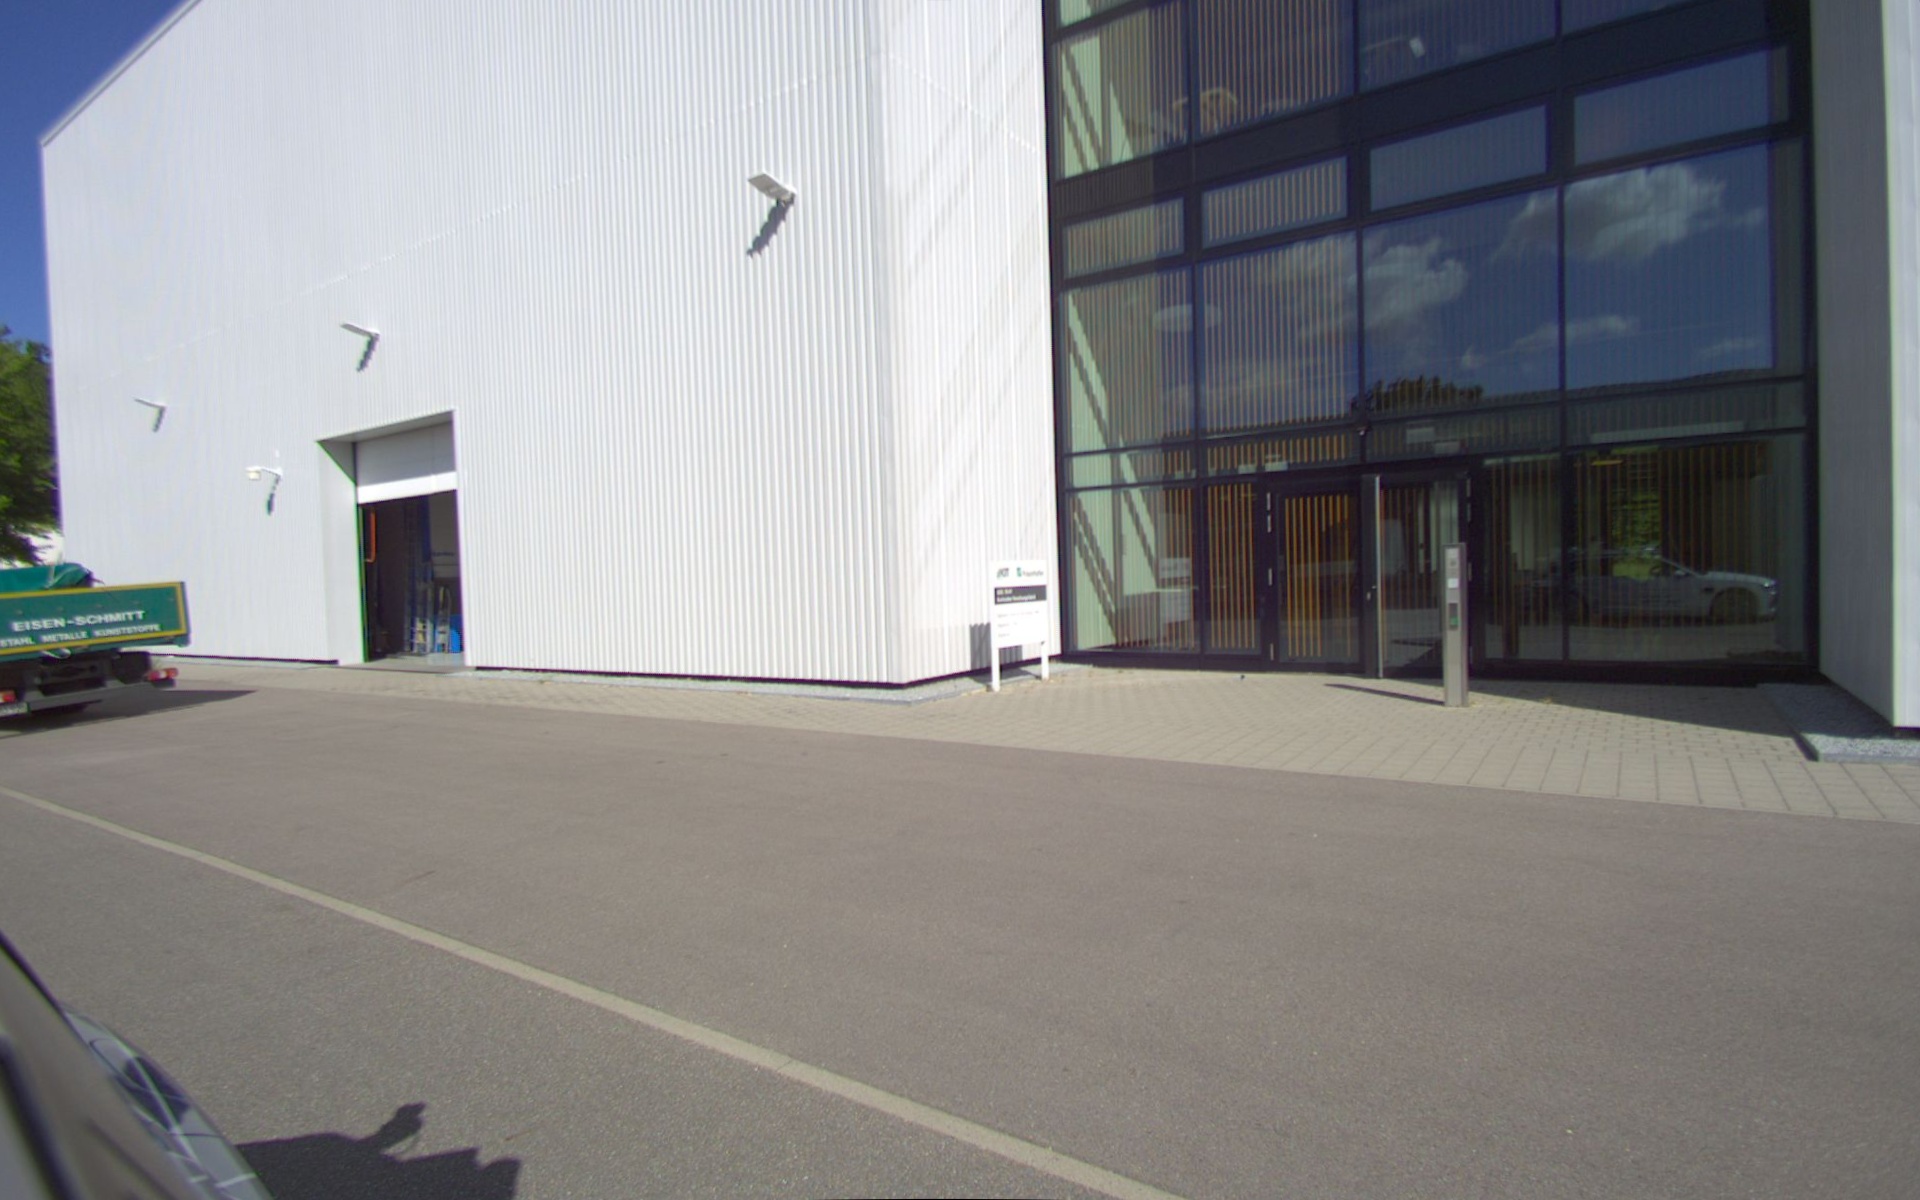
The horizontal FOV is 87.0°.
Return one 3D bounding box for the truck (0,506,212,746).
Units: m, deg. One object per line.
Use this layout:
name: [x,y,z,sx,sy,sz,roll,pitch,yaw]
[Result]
truck: [-15.109,0.386,14.271,9.630,2.736,2.571,-2,3,22]
